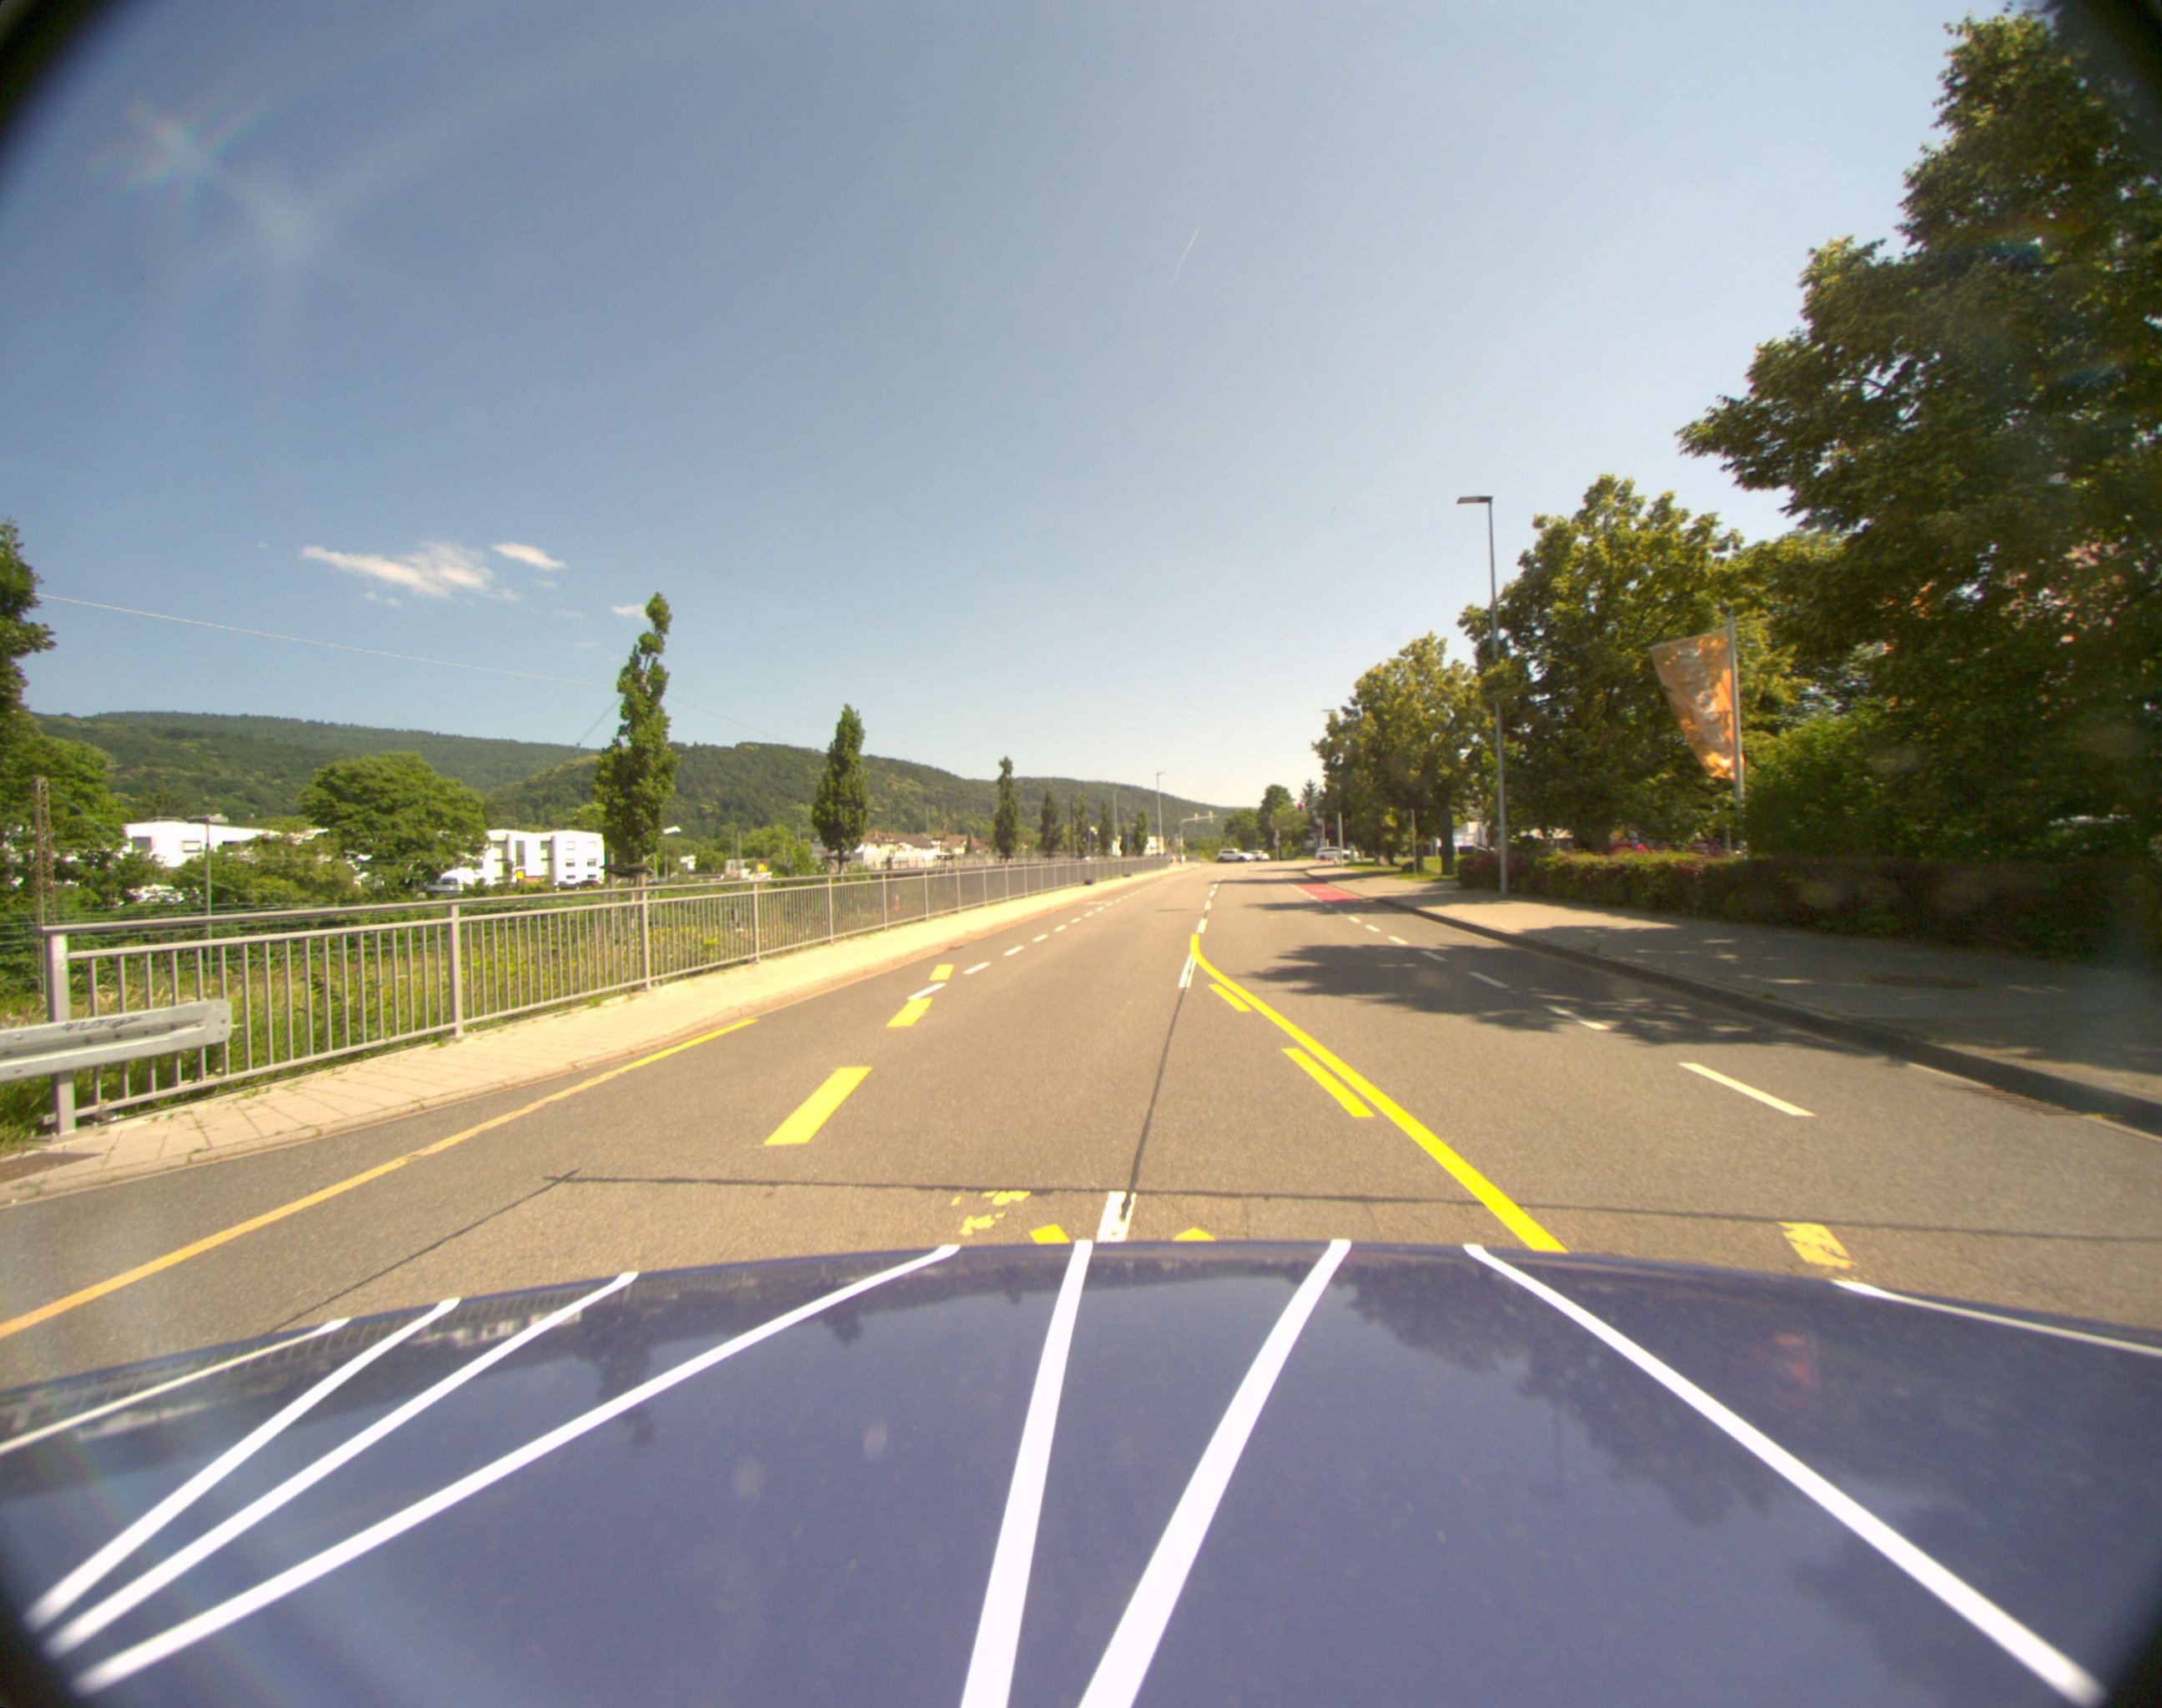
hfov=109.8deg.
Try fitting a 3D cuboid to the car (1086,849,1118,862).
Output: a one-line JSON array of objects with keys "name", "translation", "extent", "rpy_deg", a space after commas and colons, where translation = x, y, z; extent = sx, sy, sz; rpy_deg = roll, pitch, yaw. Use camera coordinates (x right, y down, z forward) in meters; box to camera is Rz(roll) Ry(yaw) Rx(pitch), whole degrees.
[{"name": "car", "translation": [3.037, 0.235, 109.430], "extent": [4.359, 1.618, 1.834], "rpy_deg": [-2, 3, 38]}]

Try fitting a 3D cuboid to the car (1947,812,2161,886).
[{"name": "car", "translation": [26.783, -0.129, 20.446], "extent": [1.760, 1.788, 4.224], "rpy_deg": [-3, 0, -13]}]

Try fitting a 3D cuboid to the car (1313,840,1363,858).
[{"name": "car", "translation": [27.915, -0.502, 82.498], "extent": [4.755, 1.643, 1.834], "rpy_deg": [-2, 4, 42]}]

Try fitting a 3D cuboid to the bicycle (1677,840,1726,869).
[{"name": "bicycle", "translation": [27.337, 0.036, 33.476], "extent": [1.608, 1.179, 0.310], "rpy_deg": [-5, 1, 41]}]

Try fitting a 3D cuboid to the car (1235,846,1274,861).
[{"name": "car", "translation": [21.617, -0.090, 94.833], "extent": [4.359, 1.618, 1.834], "rpy_deg": [-2, 3, 38]}]

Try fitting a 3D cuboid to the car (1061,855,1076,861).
[{"name": "car", "translation": [-1.969, 0.639, 116.706], "extent": [2.376, 0.897, 0.576], "rpy_deg": [-2, 4, 38]}]

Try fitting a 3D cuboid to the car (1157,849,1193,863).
[{"name": "car", "translation": [12.576, 0.261, 101.867], "extent": [4.359, 1.618, 1.834], "rpy_deg": [-2, 3, 38]}]

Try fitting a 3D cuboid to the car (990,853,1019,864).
[{"name": "car", "translation": [-12.202, 0.758, 120.834], "extent": [4.359, 1.483, 1.834], "rpy_deg": [-2, 3, 38]}]

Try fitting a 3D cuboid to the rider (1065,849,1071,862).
[{"name": "rider", "translation": [-1.998, 0.223, 116.667], "extent": [0.684, 1.804, 0.549], "rpy_deg": [-2, 4, 38]}]

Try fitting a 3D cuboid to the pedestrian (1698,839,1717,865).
[{"name": "pedestrian", "translation": [30.880, -0.112, 37.444], "extent": [0.551, 1.203, 0.593], "rpy_deg": [-8, 0, 44]}]

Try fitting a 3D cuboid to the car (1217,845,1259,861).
[{"name": "car", "translation": [18.814, -0.159, 91.362], "extent": [4.568, 1.643, 1.834], "rpy_deg": [-2, 4, 41]}]

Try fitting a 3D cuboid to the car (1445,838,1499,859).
[{"name": "car", "translation": [38.248, -0.534, 74.412], "extent": [4.358, 1.839, 1.834], "rpy_deg": [-2, 4, 40]}]

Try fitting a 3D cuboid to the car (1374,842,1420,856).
[{"name": "car", "translation": [35.071, -0.562, 84.385], "extent": [4.359, 1.338, 1.834], "rpy_deg": [-2, 3, 38]}]

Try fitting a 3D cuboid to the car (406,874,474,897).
[{"name": "car", "translation": [-74.534, 3.632, 88.467], "extent": [2.131, 2.090, 5.525], "rpy_deg": [-7, 0, 21]}]
